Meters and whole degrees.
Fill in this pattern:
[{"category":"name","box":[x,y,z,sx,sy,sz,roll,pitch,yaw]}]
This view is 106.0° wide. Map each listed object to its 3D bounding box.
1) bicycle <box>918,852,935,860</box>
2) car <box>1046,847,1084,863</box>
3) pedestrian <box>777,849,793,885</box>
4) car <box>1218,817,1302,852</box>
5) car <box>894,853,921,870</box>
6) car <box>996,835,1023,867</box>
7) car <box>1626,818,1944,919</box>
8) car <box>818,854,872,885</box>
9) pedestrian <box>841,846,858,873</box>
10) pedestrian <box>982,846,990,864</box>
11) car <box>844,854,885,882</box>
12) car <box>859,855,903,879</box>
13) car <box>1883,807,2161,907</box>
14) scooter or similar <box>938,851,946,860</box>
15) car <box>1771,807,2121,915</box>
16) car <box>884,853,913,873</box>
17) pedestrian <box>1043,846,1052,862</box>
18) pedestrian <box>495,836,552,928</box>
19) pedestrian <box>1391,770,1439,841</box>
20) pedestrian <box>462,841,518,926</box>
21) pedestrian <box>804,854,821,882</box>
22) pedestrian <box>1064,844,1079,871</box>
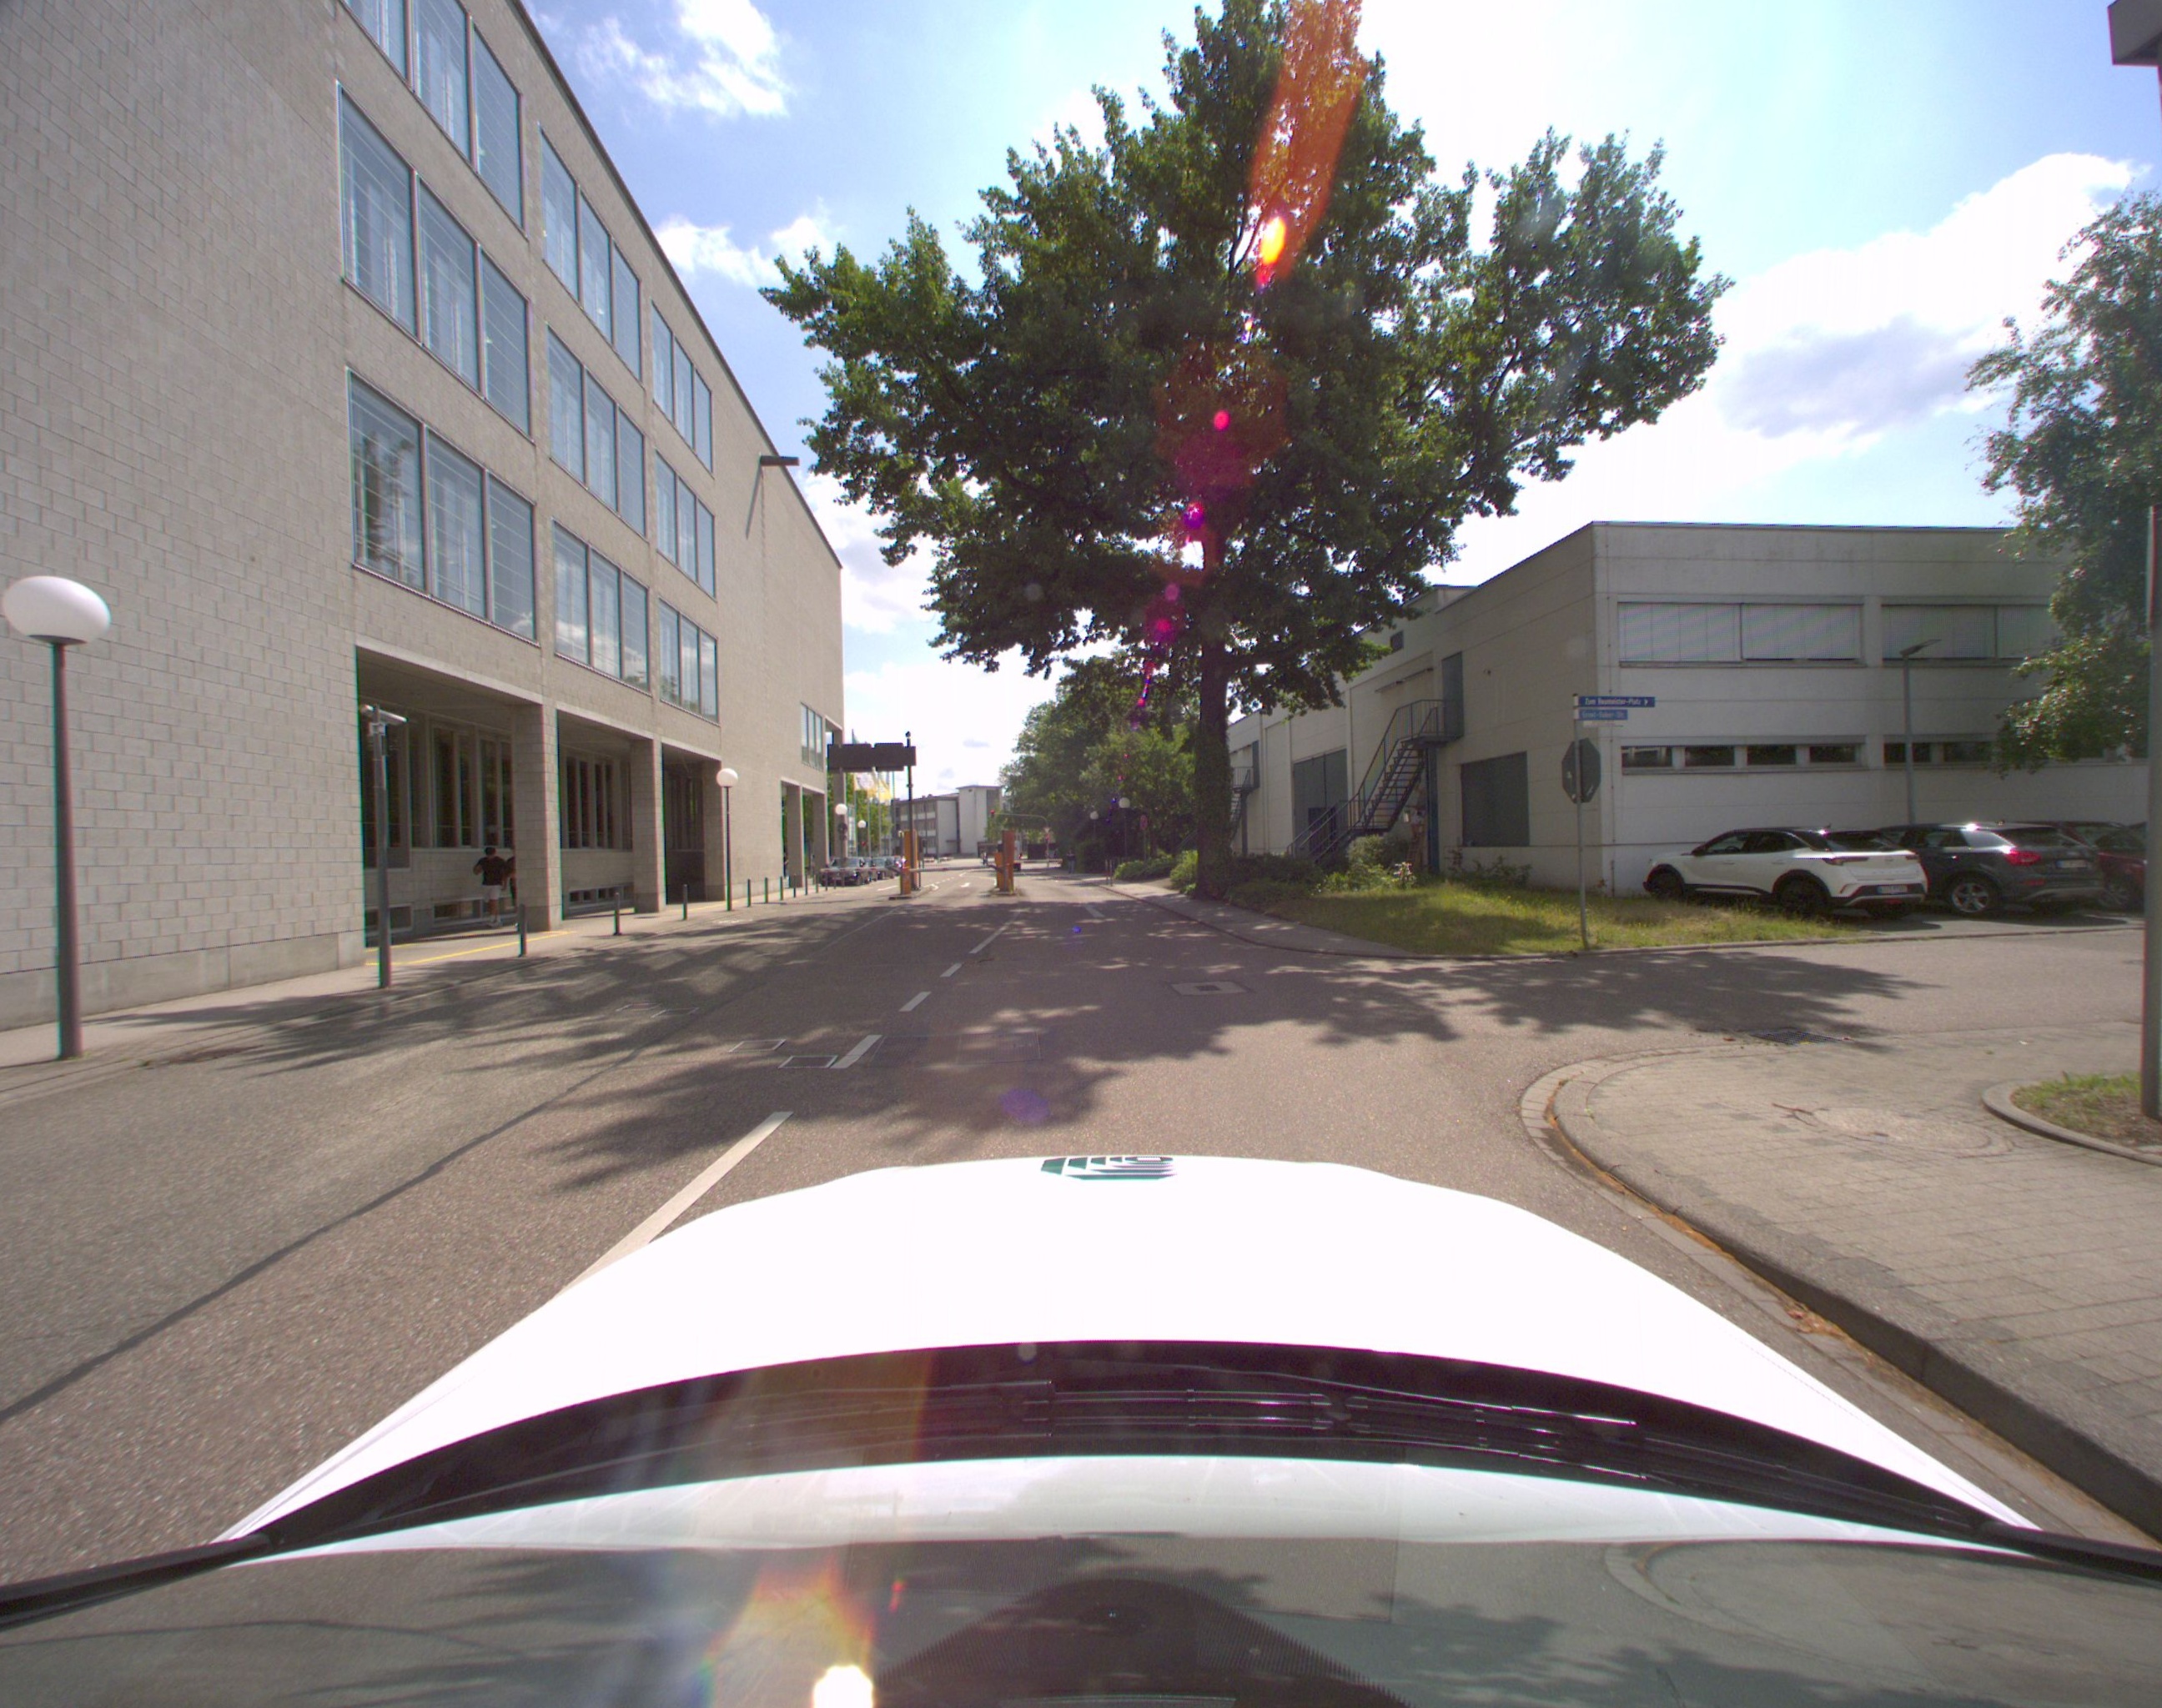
[{"category":"bicycle","box":[-27.691,0.294,145.919,2.982,1.363,1.103,-1,0,-43]},{"category":"car","box":[-1.813,0.121,92.971,4.074,1.747,1.725,-2,0,-8]},{"category":"pedestrian","box":[-20.547,0.893,56.516,0.753,2.422,0.739,-2,0,7]},{"category":"car","box":[11.355,-1.214,51.926,4.818,2.013,2.058,-2,0,-6]},{"category":"car","box":[-14.661,0.636,69.076,1.674,1.395,4.654,0,0,-5]},{"category":"car","box":[-6.098,-0.273,69.243,2.093,2.566,5.590,-2,1,-6]},{"category":"car","box":[12.065,0.199,14.385,1.666,1.477,4.170,-2,1,-8]},{"category":"car","box":[-12.017,0.744,41.752,1.857,1.467,4.709,0,0,-6]},{"category":"pedestrian","box":[-17.955,0.407,63.152,0.894,2.027,0.803,-2,0,24]},{"category":"pedestrian","box":[-9.553,0.106,82.163,0.718,1.859,0.769,-2,0,-4]},{"category":"car","box":[-12.274,0.766,46.348,1.636,1.467,3.699,0,0,-6]},{"category":"car","box":[-12.476,0.778,51.100,1.856,1.378,5.009,0,0,-4]},{"category":"car","box":[17.223,0.016,14.730,1.625,1.552,3.613,-2,0,-10]},{"category":"scooter or similar","box":[-19.550,0.204,114.452,0.718,1.178,2.710,-2,0,-16]},{"category":"car","box":[14.905,0.056,14.418,1.822,1.578,3.993,-2,1,-5]},{"category":"car","box":[-14.344,0.695,64.076,1.674,1.467,3.904,0,0,-5]},{"category":"pedestrian","box":[-3.389,0.031,82.613,0.731,1.575,0.773,-1,0,-11]},{"category":"pedestrian","box":[-12.558,0.619,18.368,0.698,2.013,0.828,-1,0,-6]},{"category":"pedestrian","box":[9.807,-1.395,23.953,0.924,2.013,0.949,-2,0,-2]},{"category":"pedestrian","box":[-13.366,0.656,18.445,0.730,1.880,0.718,-1,0,-6]},{"category":"pedestrian","box":[-19.344,0.995,58.715,0.984,2.013,1.161,-2,0,-10]},{"category":"pedestrian","box":[-0.585,0.198,51.513,0.739,1.674,1.253,-2,0,-9]}]
